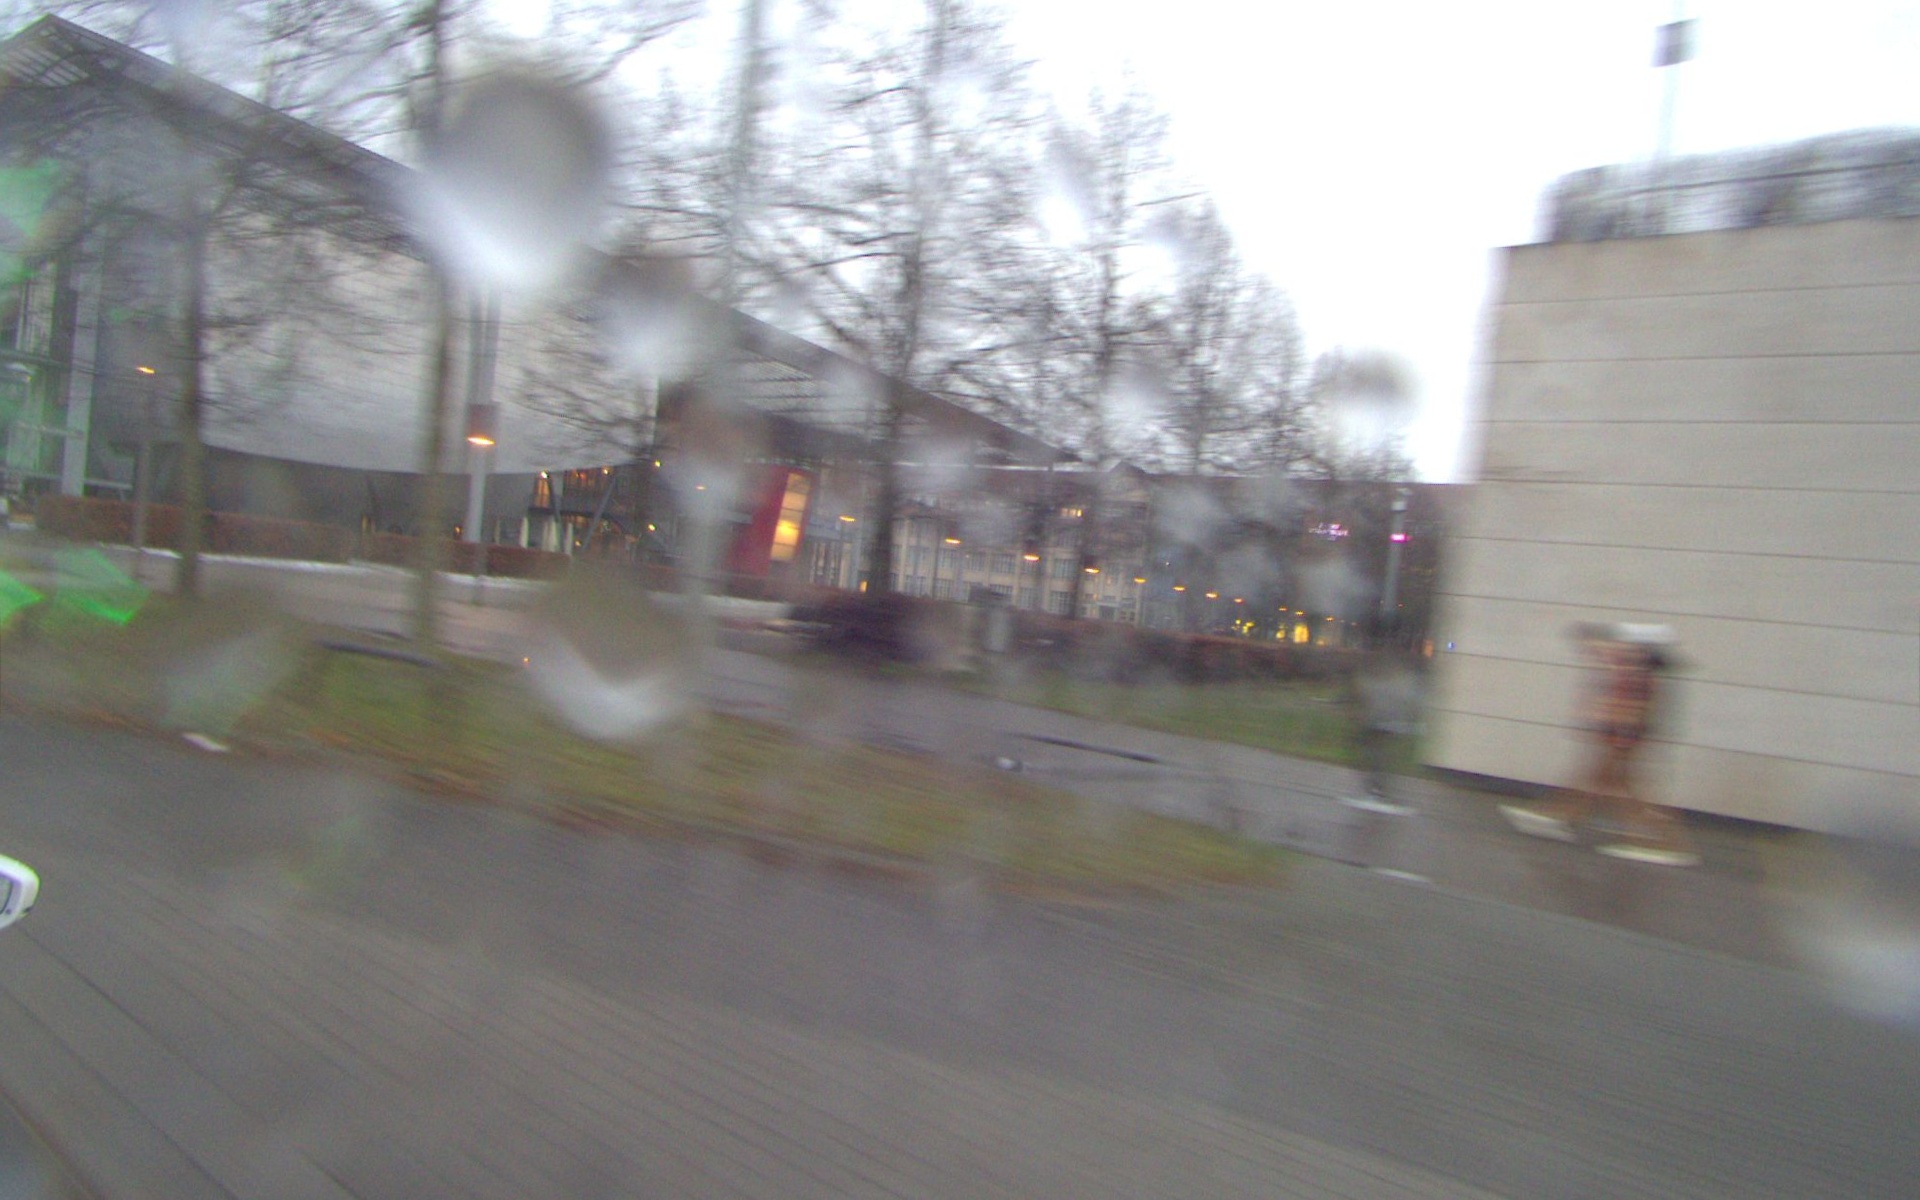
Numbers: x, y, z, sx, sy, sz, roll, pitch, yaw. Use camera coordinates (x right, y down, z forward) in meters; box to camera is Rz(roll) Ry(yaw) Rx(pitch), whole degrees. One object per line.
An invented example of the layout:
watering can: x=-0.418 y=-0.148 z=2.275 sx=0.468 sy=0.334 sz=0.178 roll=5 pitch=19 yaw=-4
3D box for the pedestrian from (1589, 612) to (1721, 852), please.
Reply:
pedestrian: x=5.642 y=1.052 z=8.160 sx=0.606 sy=1.799 sz=0.671 roll=7 pitch=0 yaw=45

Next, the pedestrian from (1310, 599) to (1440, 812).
pedestrian: x=3.449 y=0.864 z=8.356 sx=0.670 sy=1.644 sz=0.607 roll=7 pitch=0 yaw=-43

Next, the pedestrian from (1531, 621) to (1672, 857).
pedestrian: x=4.836 y=1.023 z=7.581 sx=0.671 sy=1.631 sz=0.606 roll=7 pitch=0 yaw=-45
